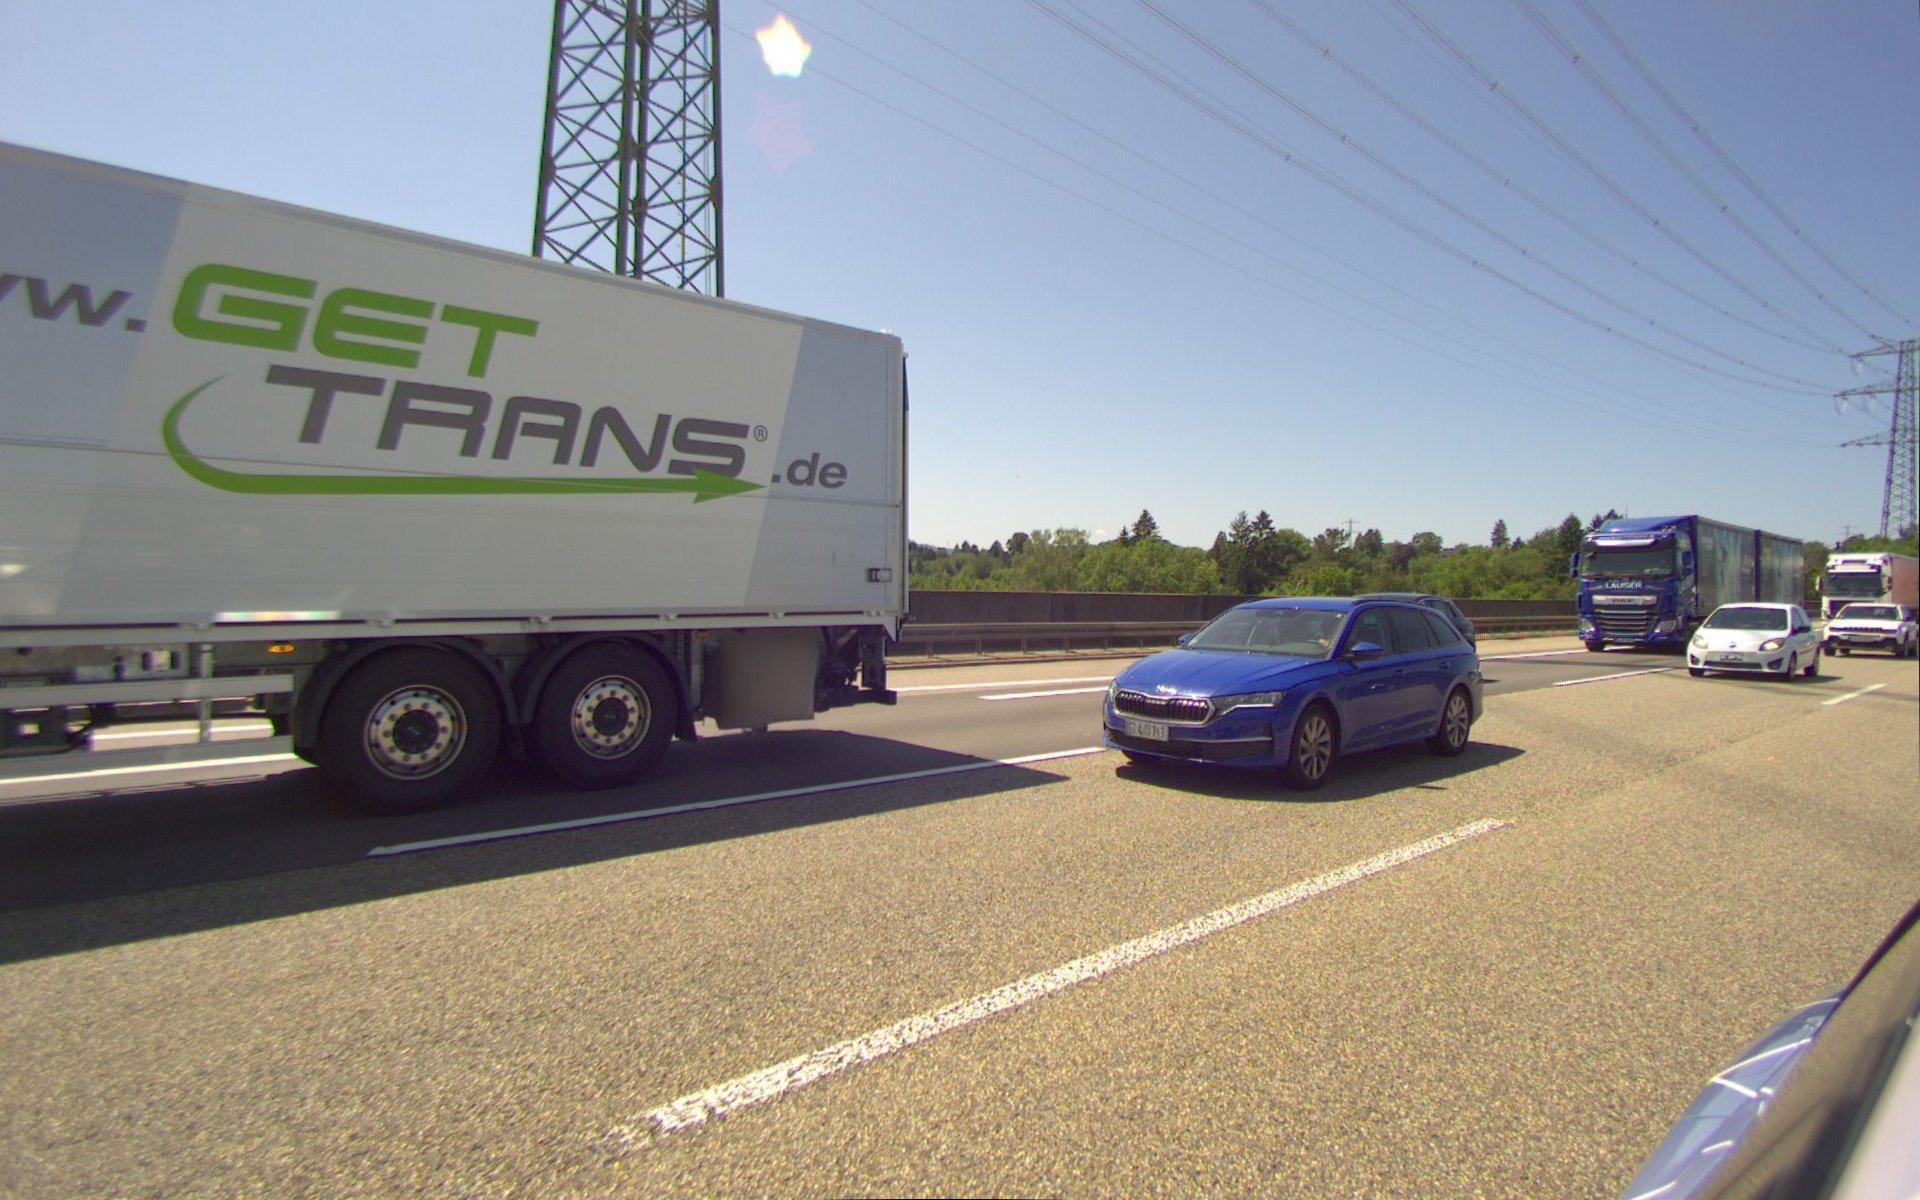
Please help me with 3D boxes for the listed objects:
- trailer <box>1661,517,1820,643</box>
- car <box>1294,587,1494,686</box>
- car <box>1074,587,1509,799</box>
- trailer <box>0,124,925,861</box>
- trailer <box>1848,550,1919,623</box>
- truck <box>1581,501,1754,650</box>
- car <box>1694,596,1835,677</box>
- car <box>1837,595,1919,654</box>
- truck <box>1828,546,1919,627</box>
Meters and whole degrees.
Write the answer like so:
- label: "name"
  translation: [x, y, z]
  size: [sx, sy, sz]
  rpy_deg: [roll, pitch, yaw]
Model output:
- label: "trailer"
  translation: [28.663, -0.713, 36.910]
  size: [10.695, 4.044, 2.541]
  rpy_deg: [-1, 0, -41]
- label: "car"
  translation: [7.605, 0.559, 17.596]
  size: [3.821, 1.524, 1.708]
  rpy_deg: [0, 1, -41]
- label: "car"
  translation: [3.158, 0.636, 9.118]
  size: [4.421, 1.458, 1.713]
  rpy_deg: [0, 1, -41]
- label: "trailer"
  translation: [-4.285, -0.539, 7.323]
  size: [8.148, 3.640, 2.848]
  rpy_deg: [0, 0, -42]
- label: "trailer"
  translation: [53.330, -0.761, 57.765]
  size: [8.539, 3.849, 2.901]
  rpy_deg: [-1, 0, -42]
- label: "truck"
  translation: [21.678, -0.658, 30.813]
  size: [7.788, 4.018, 2.515]
  rpy_deg: [0, 0, -41]
- label: "car"
  translation: [16.065, 0.655, 20.153]
  size: [3.566, 1.458, 1.582]
  rpy_deg: [0, 1, -41]
- label: "car"
  translation: [26.441, 0.657, 28.845]
  size: [3.688, 1.554, 1.720]
  rpy_deg: [0, 0, -42]
- label: "truck"
  translation: [47.683, -0.696, 52.696]
  size: [6.625, 3.941, 2.911]
  rpy_deg: [-1, 0, -42]
